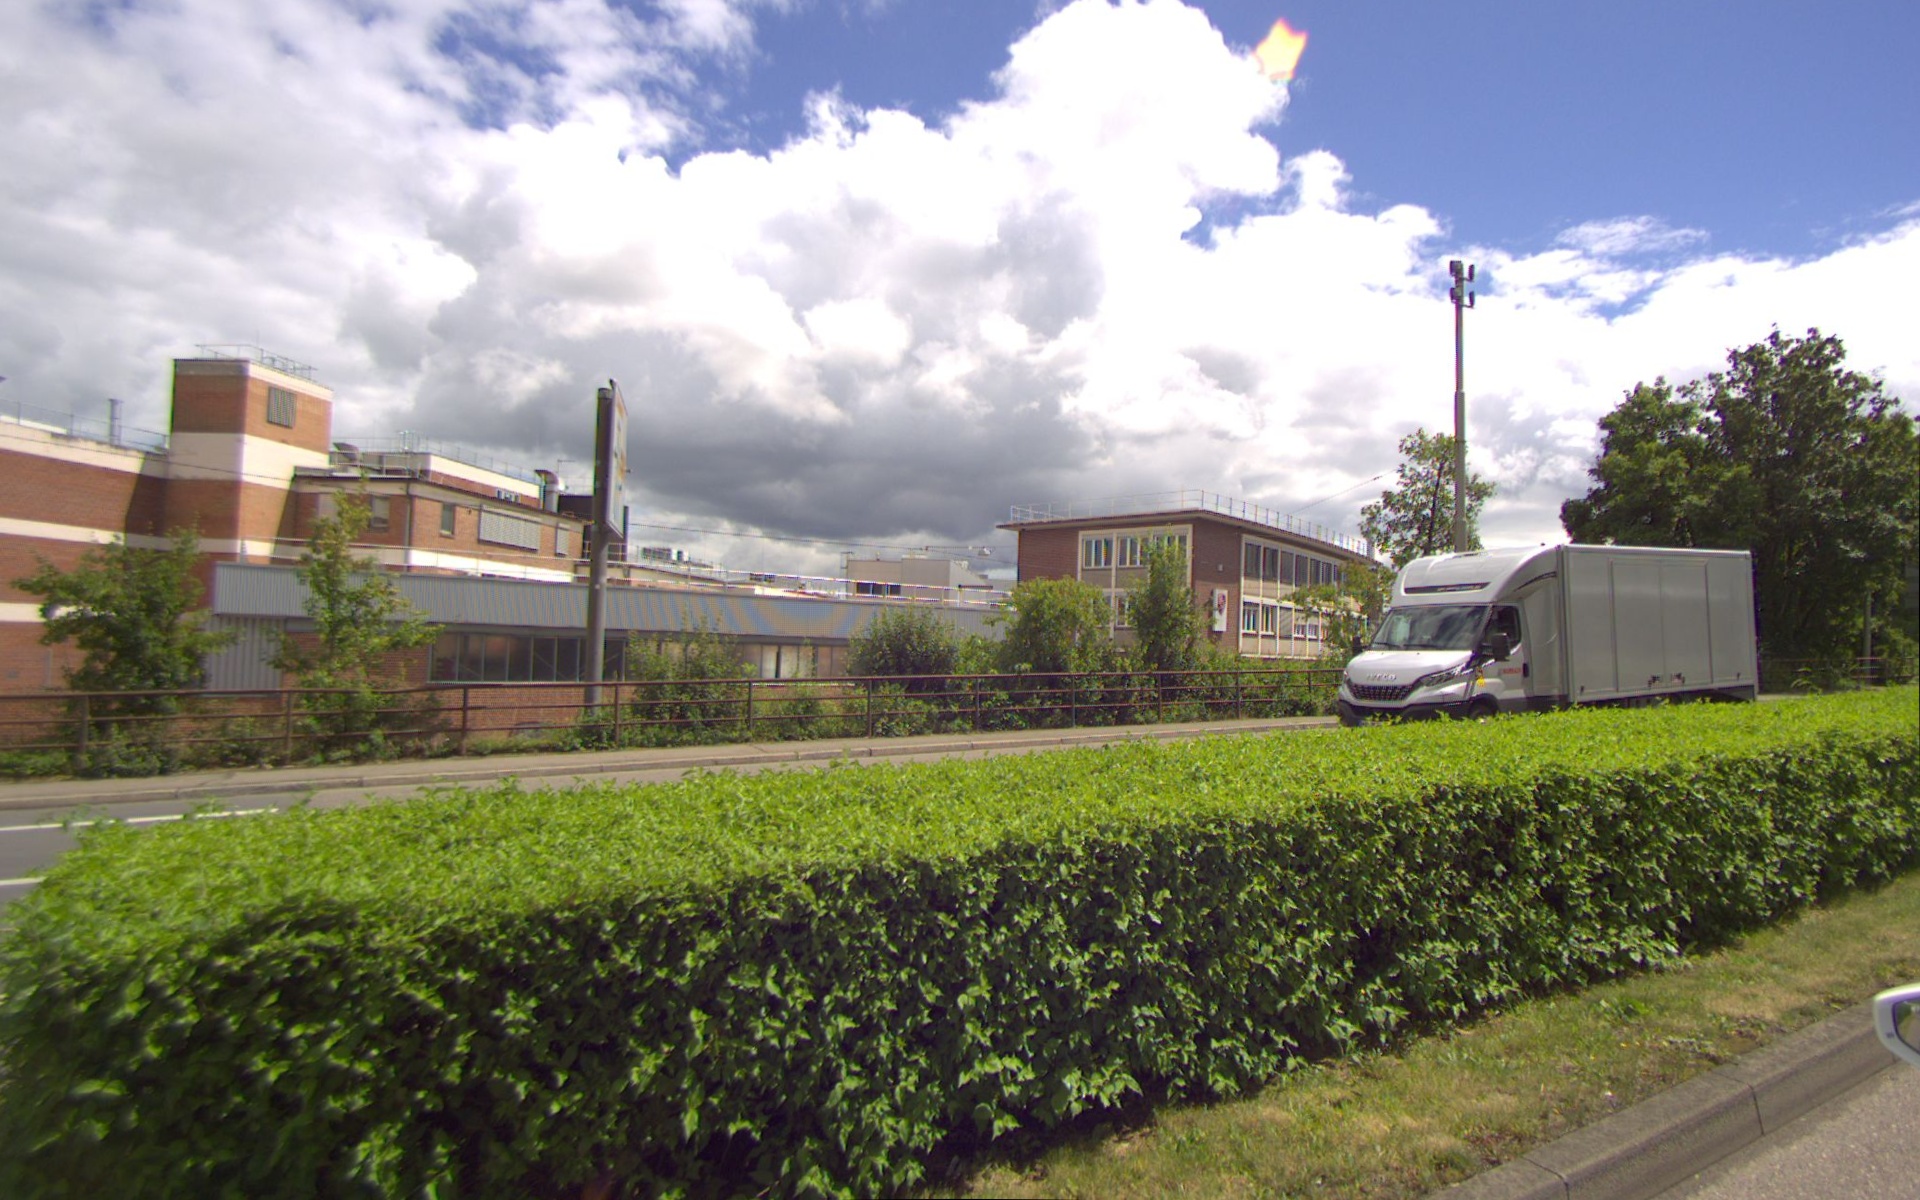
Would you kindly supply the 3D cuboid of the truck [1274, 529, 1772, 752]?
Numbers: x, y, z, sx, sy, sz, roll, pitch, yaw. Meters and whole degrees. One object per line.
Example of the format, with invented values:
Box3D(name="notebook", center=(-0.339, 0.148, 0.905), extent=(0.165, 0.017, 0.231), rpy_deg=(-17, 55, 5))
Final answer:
Box3D(name="truck", center=(9.571, 0.517, 16.601), extent=(9.264, 2.895, 2.842), rpy_deg=(-1, -1, -30))
